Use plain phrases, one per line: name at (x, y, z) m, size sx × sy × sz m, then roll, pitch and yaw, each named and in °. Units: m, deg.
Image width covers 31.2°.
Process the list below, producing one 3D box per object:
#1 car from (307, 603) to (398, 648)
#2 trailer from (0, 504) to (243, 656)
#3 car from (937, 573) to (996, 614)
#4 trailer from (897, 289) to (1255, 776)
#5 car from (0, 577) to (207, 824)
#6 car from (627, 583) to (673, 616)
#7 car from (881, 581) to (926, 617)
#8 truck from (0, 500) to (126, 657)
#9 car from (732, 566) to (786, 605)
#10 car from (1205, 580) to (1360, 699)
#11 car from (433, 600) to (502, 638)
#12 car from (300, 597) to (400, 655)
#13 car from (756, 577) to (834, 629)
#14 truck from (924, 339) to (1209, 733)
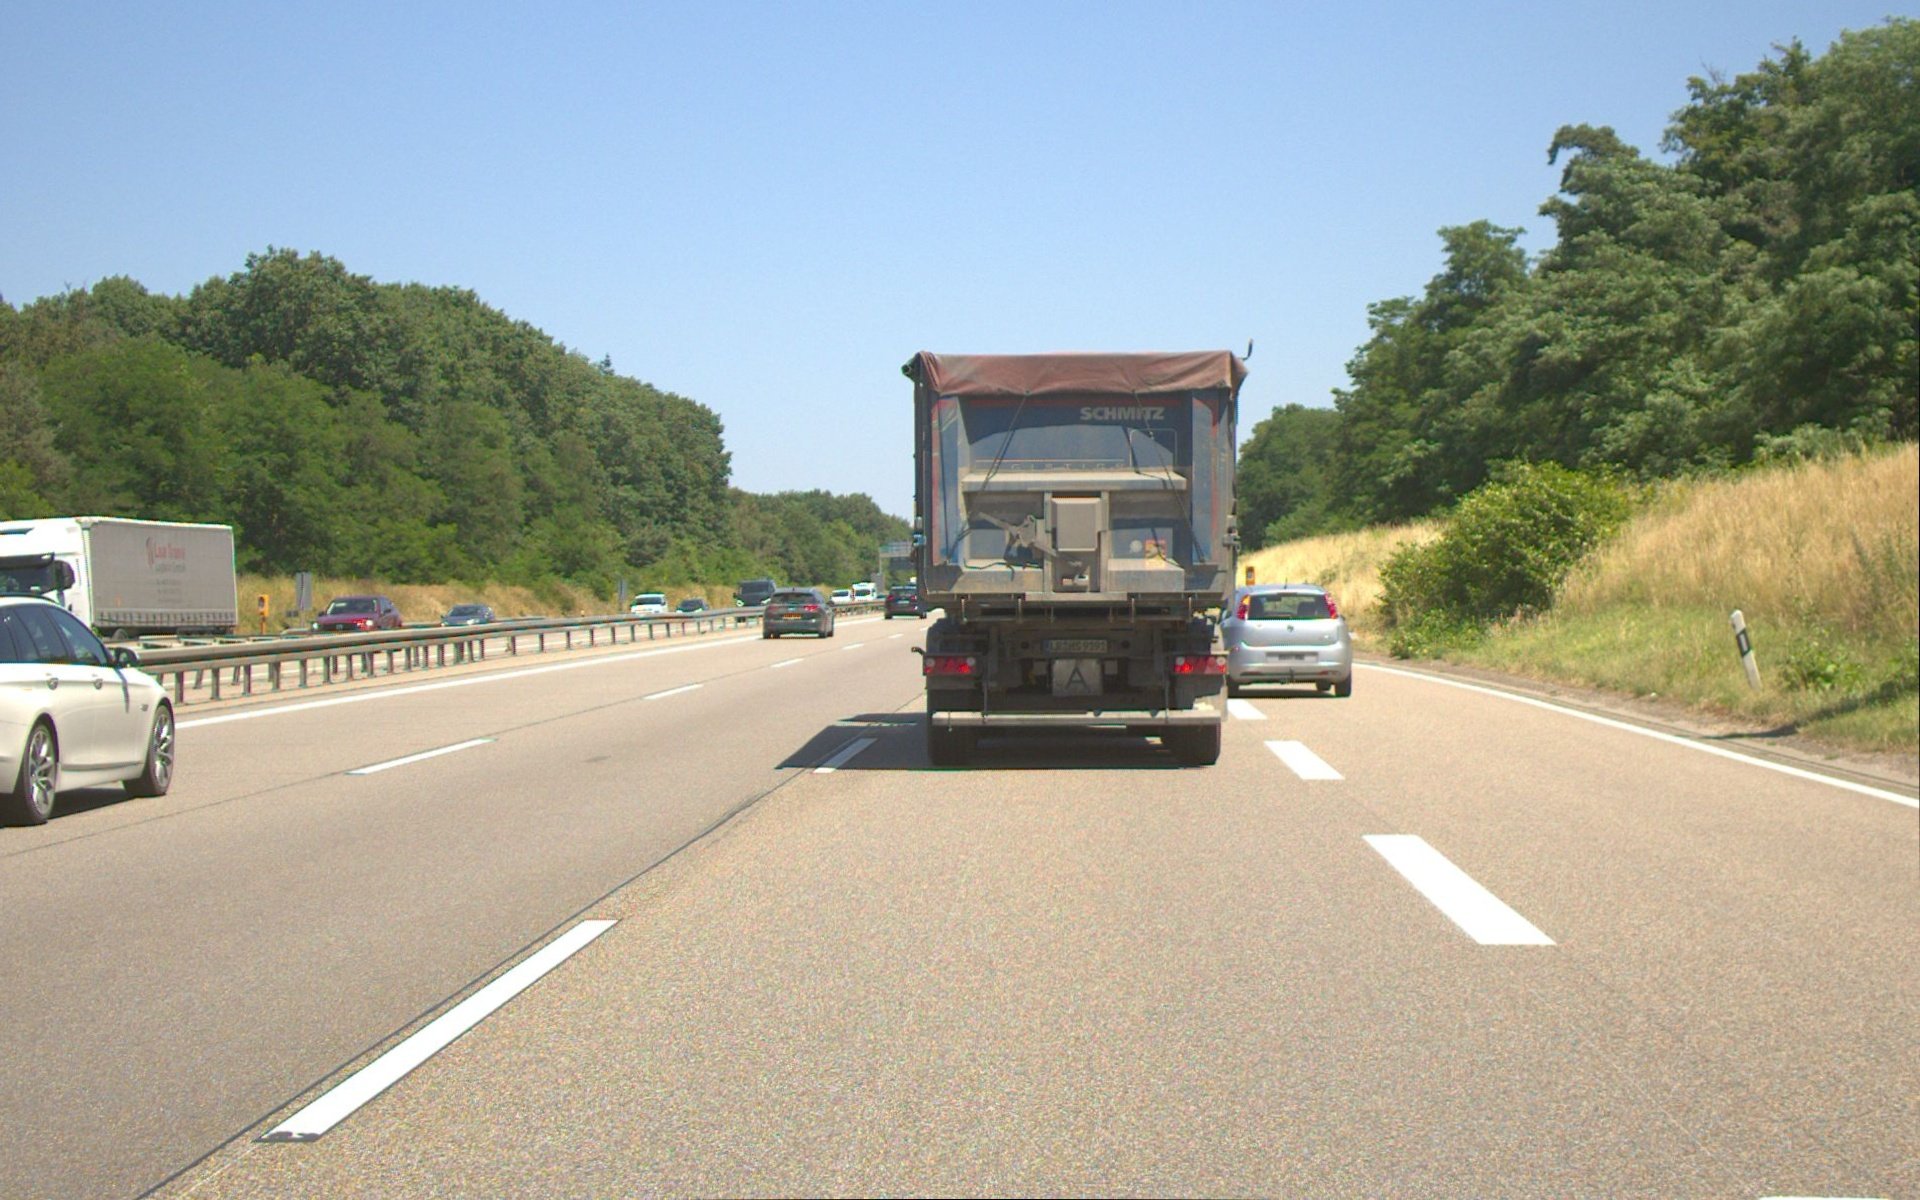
car at (-21.372, 0.891, 121.134) m, size 2.085 × 1.458 × 4.942 m, roll -2°, pitch 0°, yaw 2°
trailer at (-23.505, -0.548, 95.900) m, size 3.169 × 3.917 × 13.961 m, roll 0°, pitch 0°, yaw 4°
car at (0.246, -0.237, 126.561) m, size 1.894 × 1.464 × 4.261 m, roll 0°, pitch 1°, yaw 4°
trailer at (0.991, -0.577, 31.183) m, size 2.737 × 3.746 × 9.109 m, roll -1°, pitch 1°, yaw 1°
car at (-6.725, 0.609, 23.122) m, size 1.964 × 1.498 × 5.404 m, roll 0°, pitch 0°, yaw 2°
car at (-17.976, -0.048, 199.454) m, size 1.994 × 1.821 × 4.642 m, roll -3°, pitch 0°, yaw 2°
car at (-2.551, -0.055, 155.685) m, size 1.876 × 1.575 × 3.928 m, roll 0°, pitch 1°, yaw 2°
truck at (-23.981, -0.540, 88.987) m, size 3.169 × 3.917 × 5.399 m, roll 0°, pitch 0°, yaw 4°
car at (-10.393, -0.753, 178.042) m, size 2.280 × 1.934 × 4.942 m, roll -2°, pitch 0°, yaw 2°
car at (4.257, 0.496, 45.862) m, size 1.719 × 1.486 × 3.737 m, roll 0°, pitch 1°, yaw 0°
car at (-20.460, 0.771, 143.067) m, size 1.927 × 1.458 × 4.942 m, roll -2°, pitch 0°, yaw 2°
car at (-17.539, 0.731, 99.080) m, size 1.846 × 1.605 × 4.921 m, roll 0°, pitch 0°, yaw 2°
car at (-4.730, 0.071, 99.118) m, size 1.832 × 1.427 × 4.999 m, roll 0°, pitch 1°, yaw 2°
truck at (1.080, -0.649, 35.895) m, size 2.684 × 3.746 × 5.944 m, roll -1°, pitch 1°, yaw 1°
